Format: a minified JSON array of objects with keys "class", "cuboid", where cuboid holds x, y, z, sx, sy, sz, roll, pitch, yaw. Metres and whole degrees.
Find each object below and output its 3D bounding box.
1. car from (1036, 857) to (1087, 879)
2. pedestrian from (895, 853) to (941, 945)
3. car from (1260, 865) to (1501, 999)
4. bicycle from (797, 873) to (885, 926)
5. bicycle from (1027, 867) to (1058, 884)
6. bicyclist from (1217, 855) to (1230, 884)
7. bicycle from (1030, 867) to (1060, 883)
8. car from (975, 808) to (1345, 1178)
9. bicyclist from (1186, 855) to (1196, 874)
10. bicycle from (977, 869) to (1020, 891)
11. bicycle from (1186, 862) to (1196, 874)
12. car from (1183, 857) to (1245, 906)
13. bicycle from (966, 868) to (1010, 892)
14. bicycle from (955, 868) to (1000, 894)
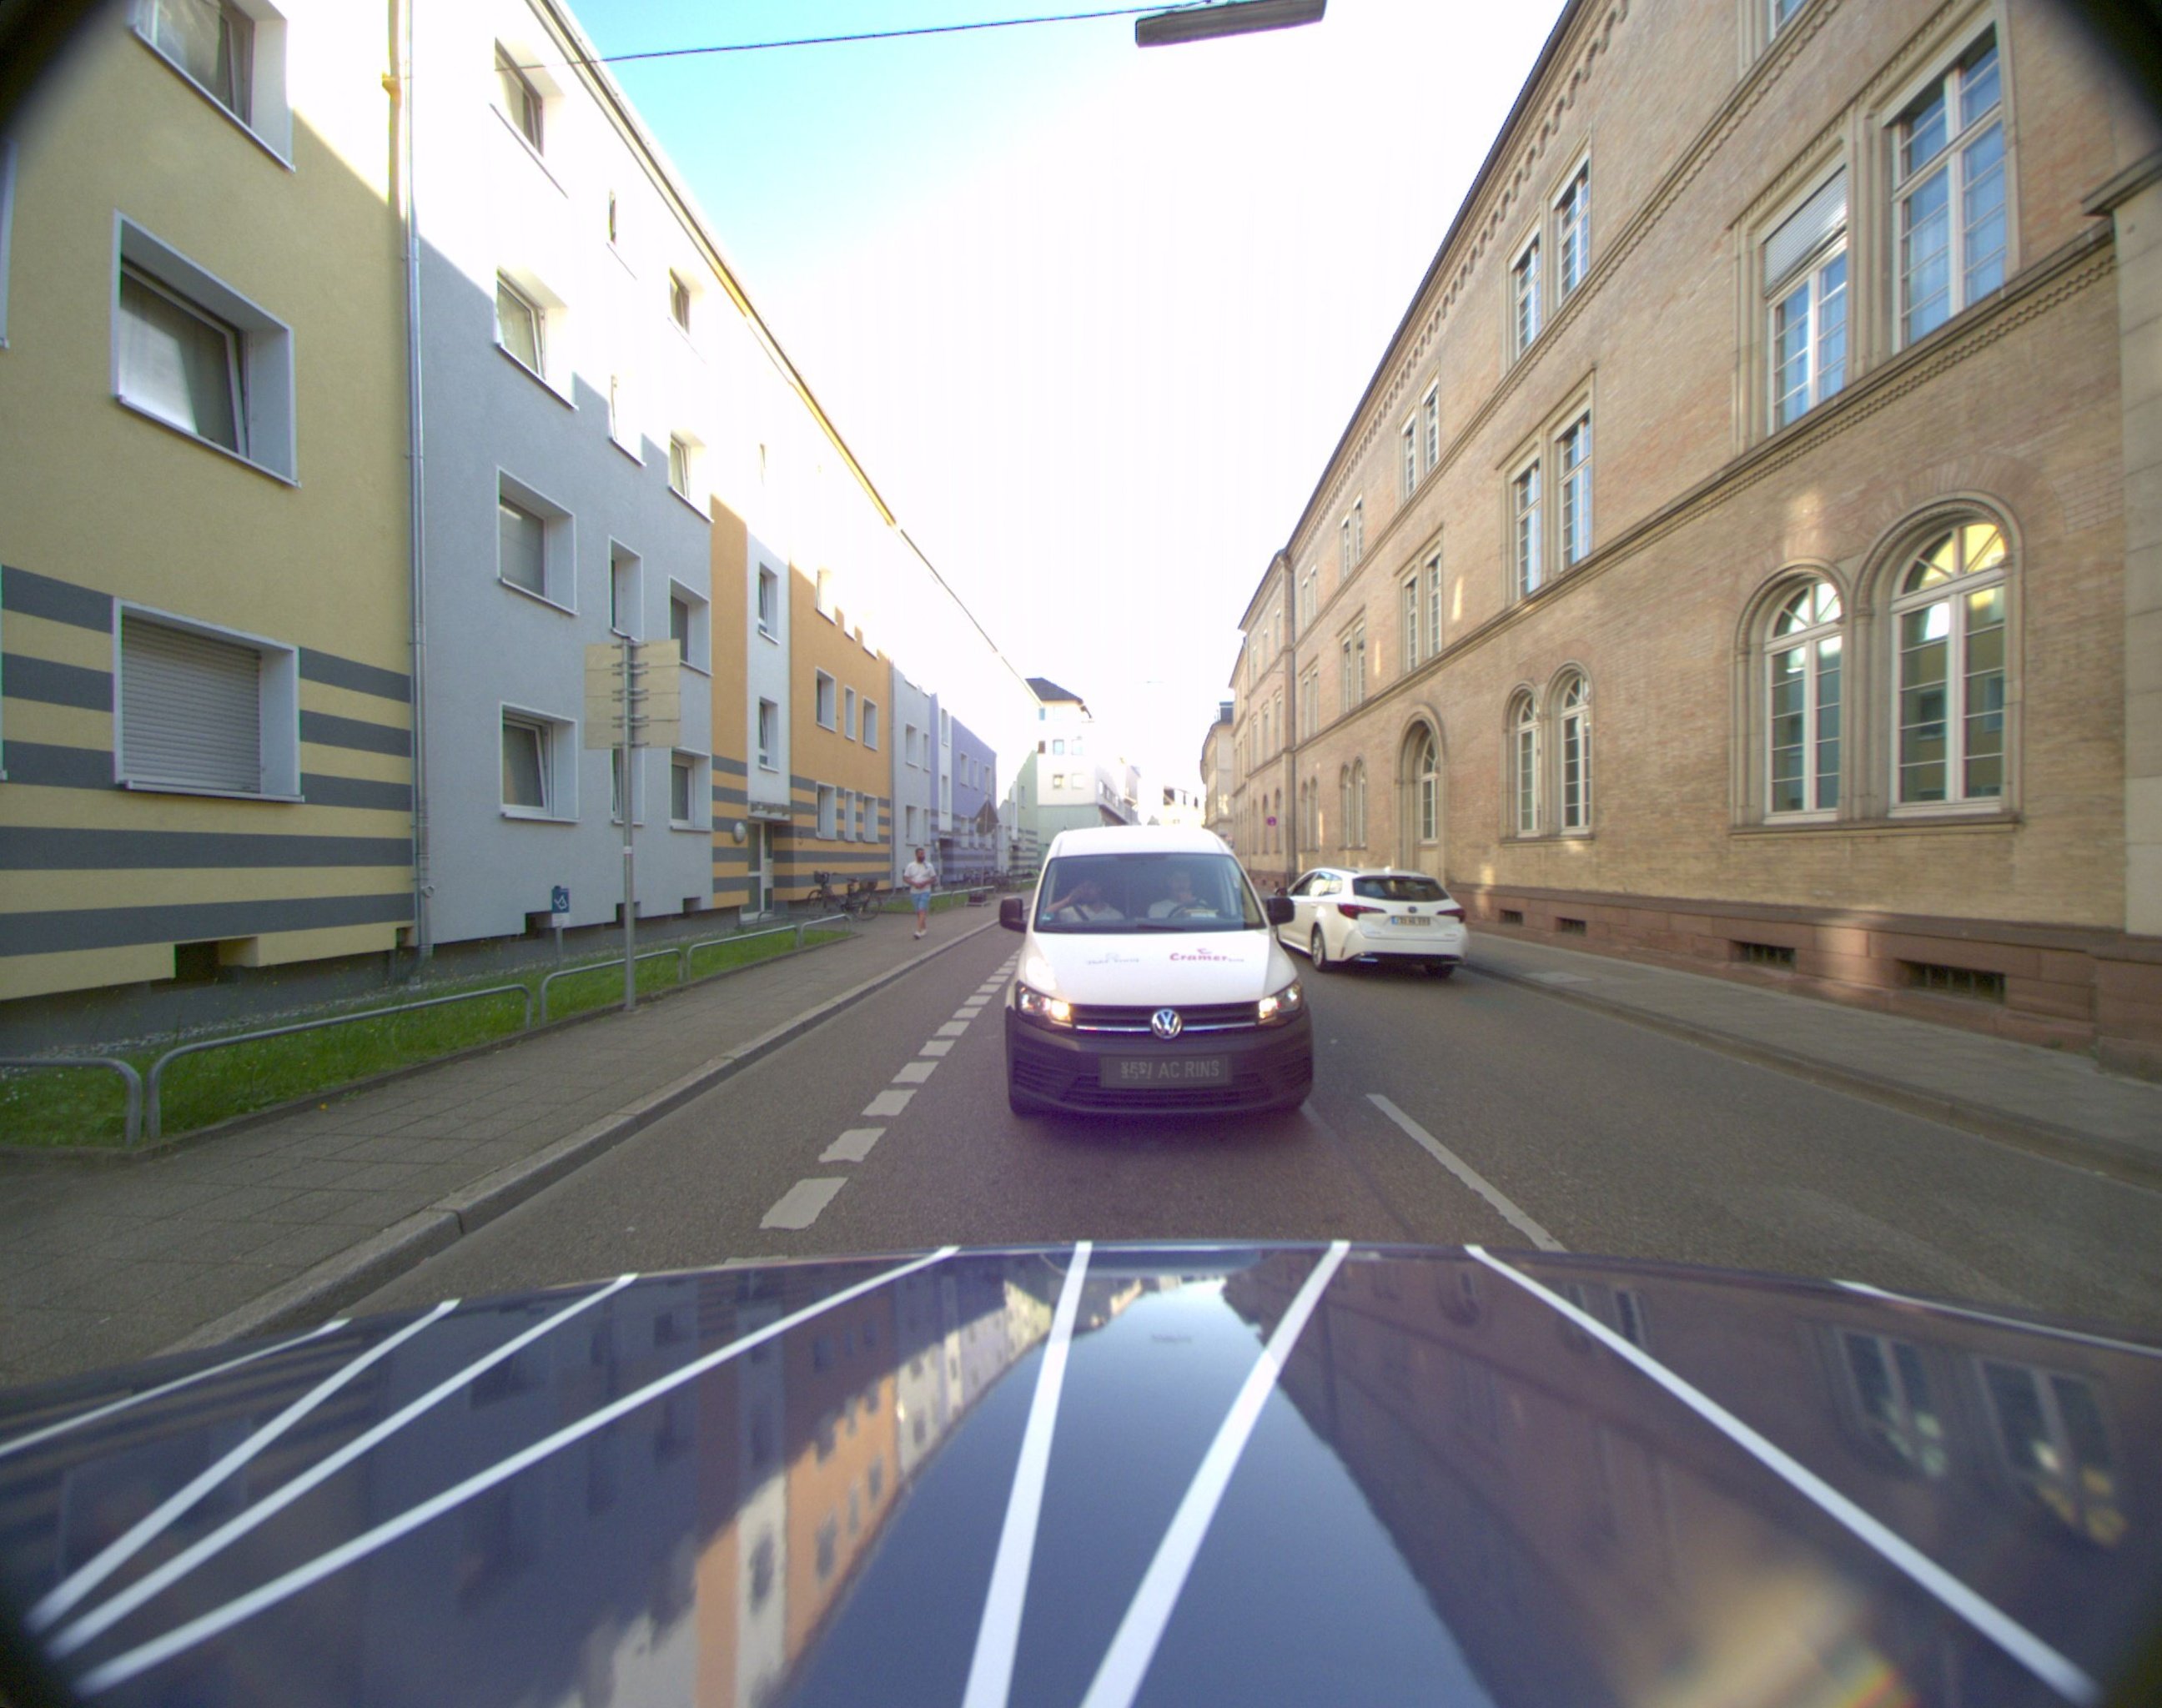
[{"class":"car","cuboid":[-1.596,1.160,63.473,3.995,1.681,1.901,-2,1,5]},{"class":"pedestrian","cuboid":[-3.029,0.817,14.193,0.644,1.662,0.834,1,0,3]},{"class":"car","cuboid":[4.101,0.958,11.347,1.891,1.467,4.545,2,0,2]},{"class":"bicycle","cuboid":[-5.394,1.023,17.099,1.776,1.118,0.583,1,1,-1]},{"class":"bicycle","cuboid":[-2.316,1.297,46.069,1.775,0.934,0.584,1,1,7]},{"class":"bicyclist","cuboid":[6.982,0.759,37.240,0.604,1.434,0.578,0,0,4]},{"class":"bicycle","cuboid":[-2.236,1.328,47.607,1.775,0.934,0.584,1,1,7]},{"class":"car","cuboid":[0.426,0.698,6.434,1.819,1.825,5.341,0,0,1]},{"class":"bicyclist","cuboid":[8.998,0.867,62.161,0.651,1.558,0.961,2,0,6]},{"class":"bicycle","cuboid":[-3.660,1.152,33.814,1.775,0.934,0.584,1,1,7]},{"class":"bicycle","cuboid":[8.999,1.130,62.170,0.651,1.001,1.807,2,0,7]},{"class":"car","cuboid":[4.777,0.932,27.757,1.689,1.573,4.276,2,0,3]},{"class":"bicycle","cuboid":[-4.050,1.115,33.198,1.775,0.990,0.584,1,1,7]},{"class":"bicycle","cuboid":[-4.326,1.124,31.856,1.775,0.990,0.584,1,1,7]}]
